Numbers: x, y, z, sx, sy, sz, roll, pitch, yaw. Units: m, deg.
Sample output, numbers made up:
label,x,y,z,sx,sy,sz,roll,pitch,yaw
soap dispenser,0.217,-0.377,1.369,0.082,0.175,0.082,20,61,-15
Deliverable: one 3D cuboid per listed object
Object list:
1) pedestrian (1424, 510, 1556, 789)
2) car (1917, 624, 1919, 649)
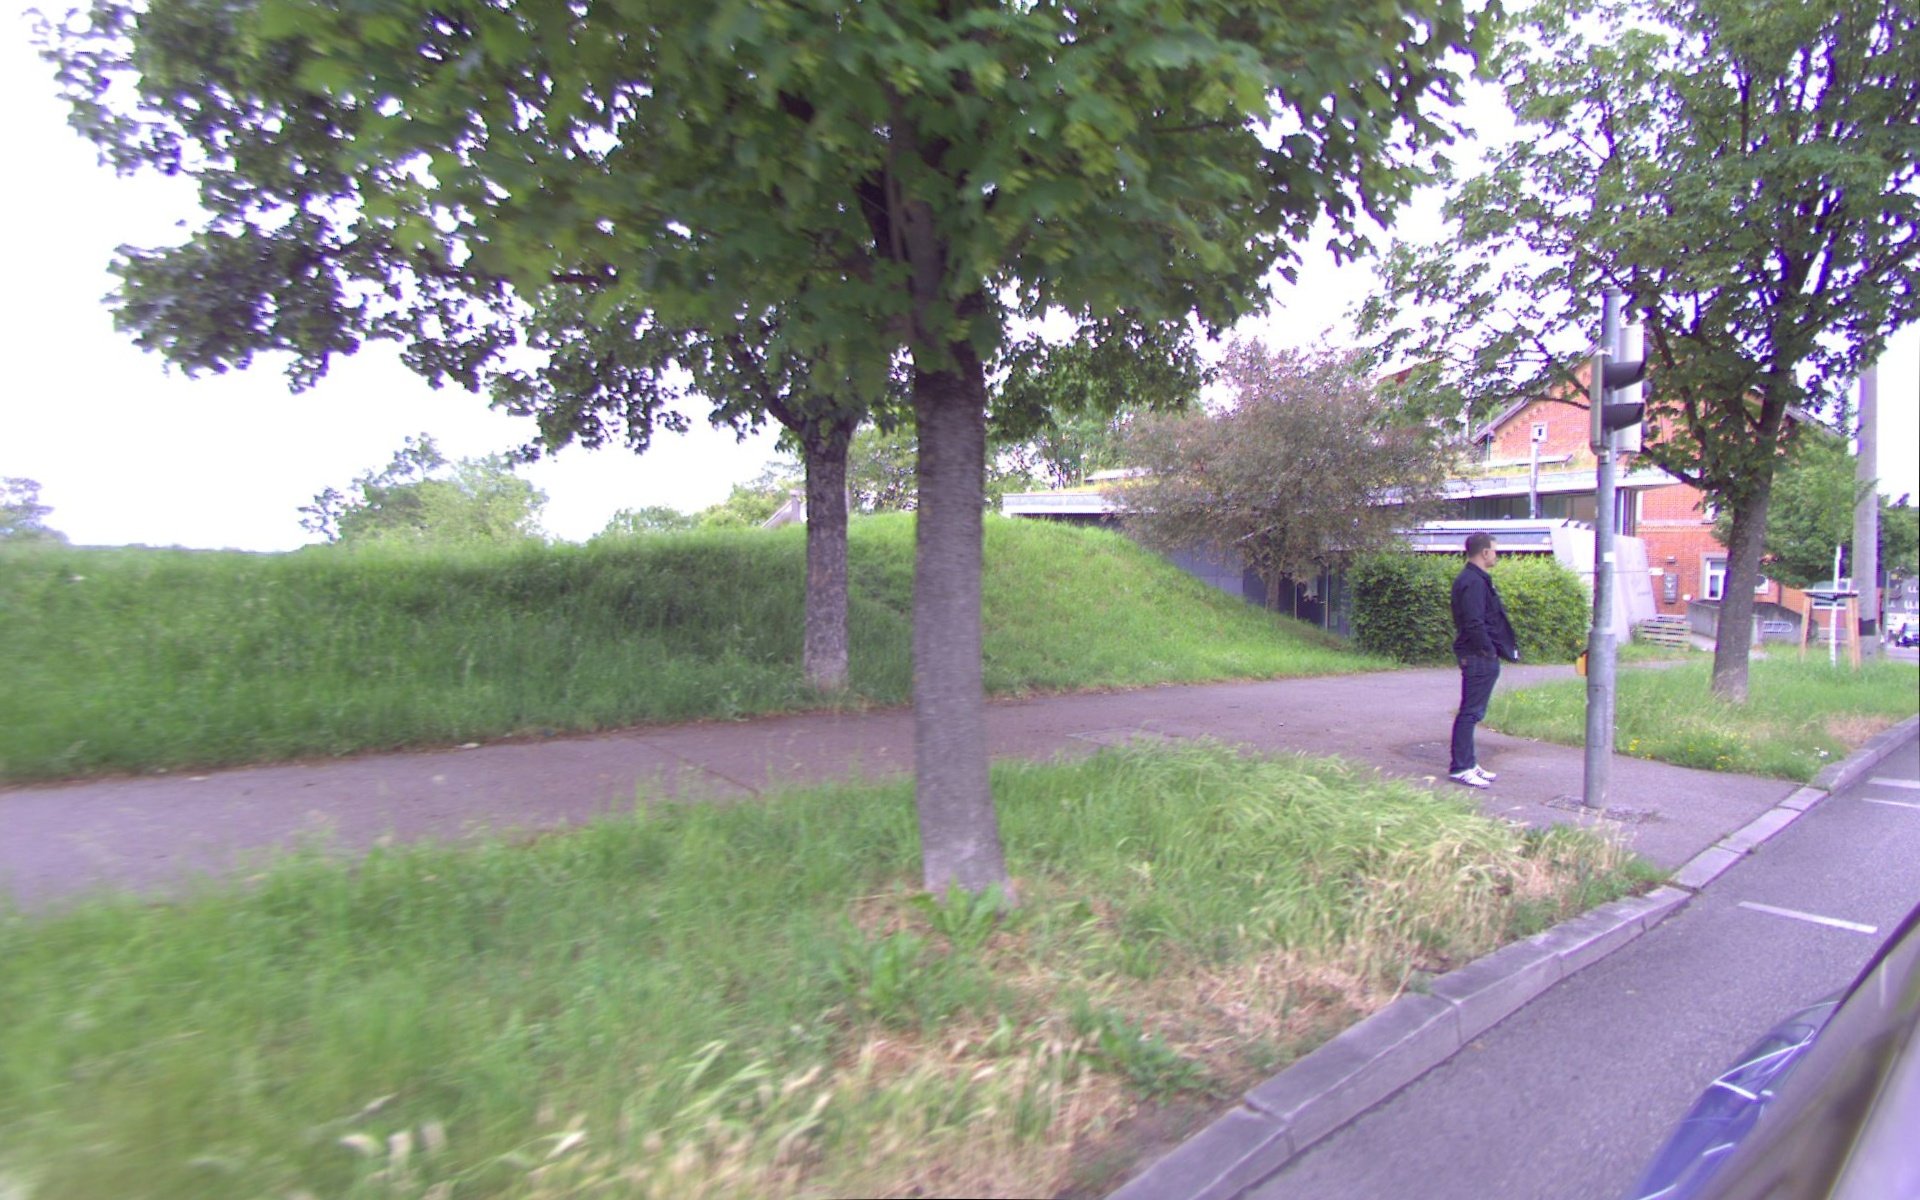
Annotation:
label,x,y,z,sx,sy,sz,roll,pitch,yaw
pedestrian,3.812,0.328,7.276,0.642,1.879,0.662,2,0,43
car,67.902,2.583,70.399,1.706,1.710,3.738,2,1,40
